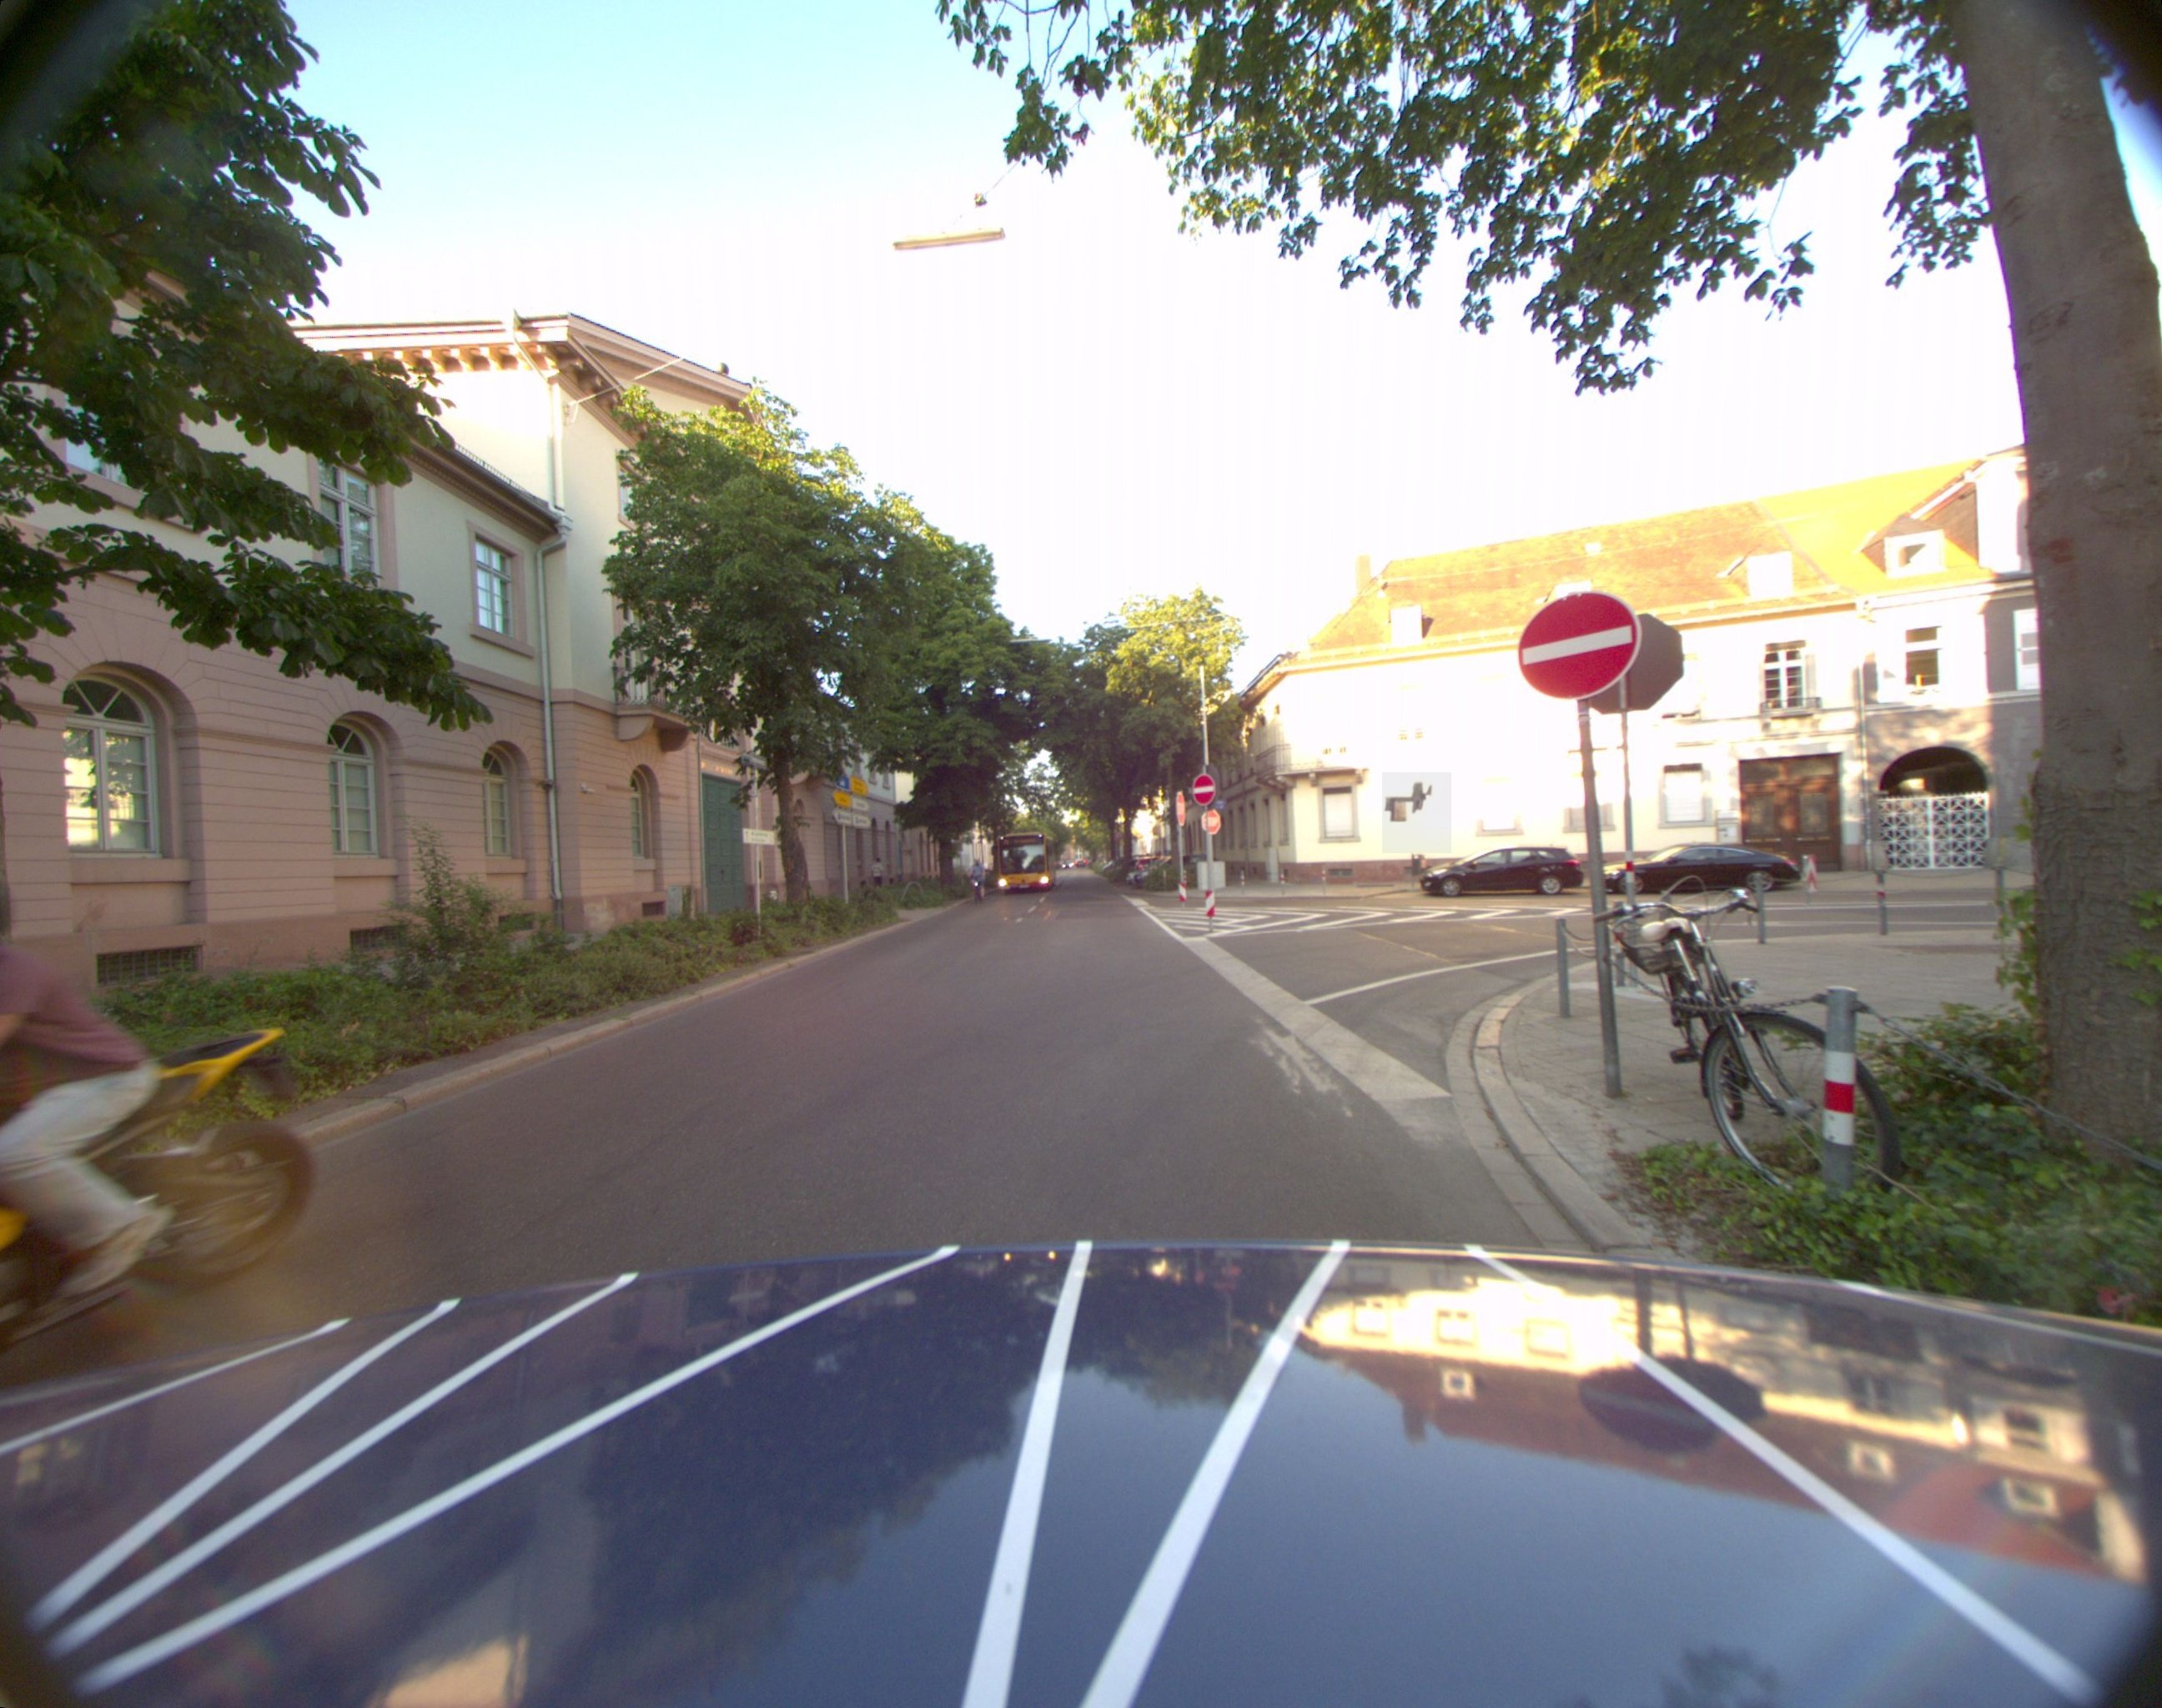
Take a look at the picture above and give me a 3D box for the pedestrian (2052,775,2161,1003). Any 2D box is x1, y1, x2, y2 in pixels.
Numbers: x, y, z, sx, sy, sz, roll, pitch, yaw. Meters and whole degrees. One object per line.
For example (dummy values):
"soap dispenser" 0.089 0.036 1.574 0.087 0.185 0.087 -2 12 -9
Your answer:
"pedestrian" 8.618 0.247 5.740 0.850 1.728 1.267 -3 -1 6

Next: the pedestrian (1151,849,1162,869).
"pedestrian" 6.878 0.453 69.182 0.806 1.760 1.021 -2 0 -1

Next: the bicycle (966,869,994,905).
"bicycle" -4.086 1.303 30.892 0.783 1.322 2.078 -4 0 0

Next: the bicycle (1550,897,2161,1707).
"bicycle" 2.422 0.849 2.445 0.844 1.260 2.575 -2 0 15

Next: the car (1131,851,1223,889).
"car" 4.443 0.737 35.635 3.997 1.605 1.828 -2 0 -2

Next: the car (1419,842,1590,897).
"car" 12.909 0.506 23.516 4.420 1.532 1.810 -2 -1 23

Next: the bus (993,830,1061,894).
"bus" -2.834 0.407 43.462 2.711 2.983 12.082 -4 0 0

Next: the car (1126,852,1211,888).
"car" 4.339 0.793 38.034 3.997 1.605 1.723 -2 0 -2

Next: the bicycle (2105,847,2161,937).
"bicycle" 14.346 0.456 9.406 1.799 1.119 0.730 -3 -3 31

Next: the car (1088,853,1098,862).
"car" 2.490 0.758 160.584 2.081 1.687 4.000 -2 0 1

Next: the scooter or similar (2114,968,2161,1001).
"scooter or similar" 8.596 1.025 5.741 0.418 0.206 0.883 -3 -1 6

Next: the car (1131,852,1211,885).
"car" 4.762 0.755 40.467 3.997 1.605 1.723 -2 0 -2

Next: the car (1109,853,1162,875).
"car" 4.291 0.771 60.481 3.997 1.605 1.723 -2 0 -2

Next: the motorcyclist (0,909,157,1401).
"motorcyclist" -3.594 0.917 2.230 0.793 1.412 0.699 -4 0 -3

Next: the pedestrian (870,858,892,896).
"pedestrian" -9.931 1.118 37.710 0.800 1.821 0.929 -2 0 -2

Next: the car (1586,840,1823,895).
"car" 17.356 0.405 21.488 4.846 1.386 1.782 -2 -1 24

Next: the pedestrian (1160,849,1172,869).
"pedestrian" 7.737 0.490 69.192 0.894 1.760 1.021 -2 0 -1

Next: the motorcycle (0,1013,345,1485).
"motorcycle" -3.572 1.281 2.281 0.793 1.153 1.966 -4 0 -3

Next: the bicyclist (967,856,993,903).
"bicyclist" -4.107 1.039 30.940 0.783 1.828 0.826 -4 0 0
